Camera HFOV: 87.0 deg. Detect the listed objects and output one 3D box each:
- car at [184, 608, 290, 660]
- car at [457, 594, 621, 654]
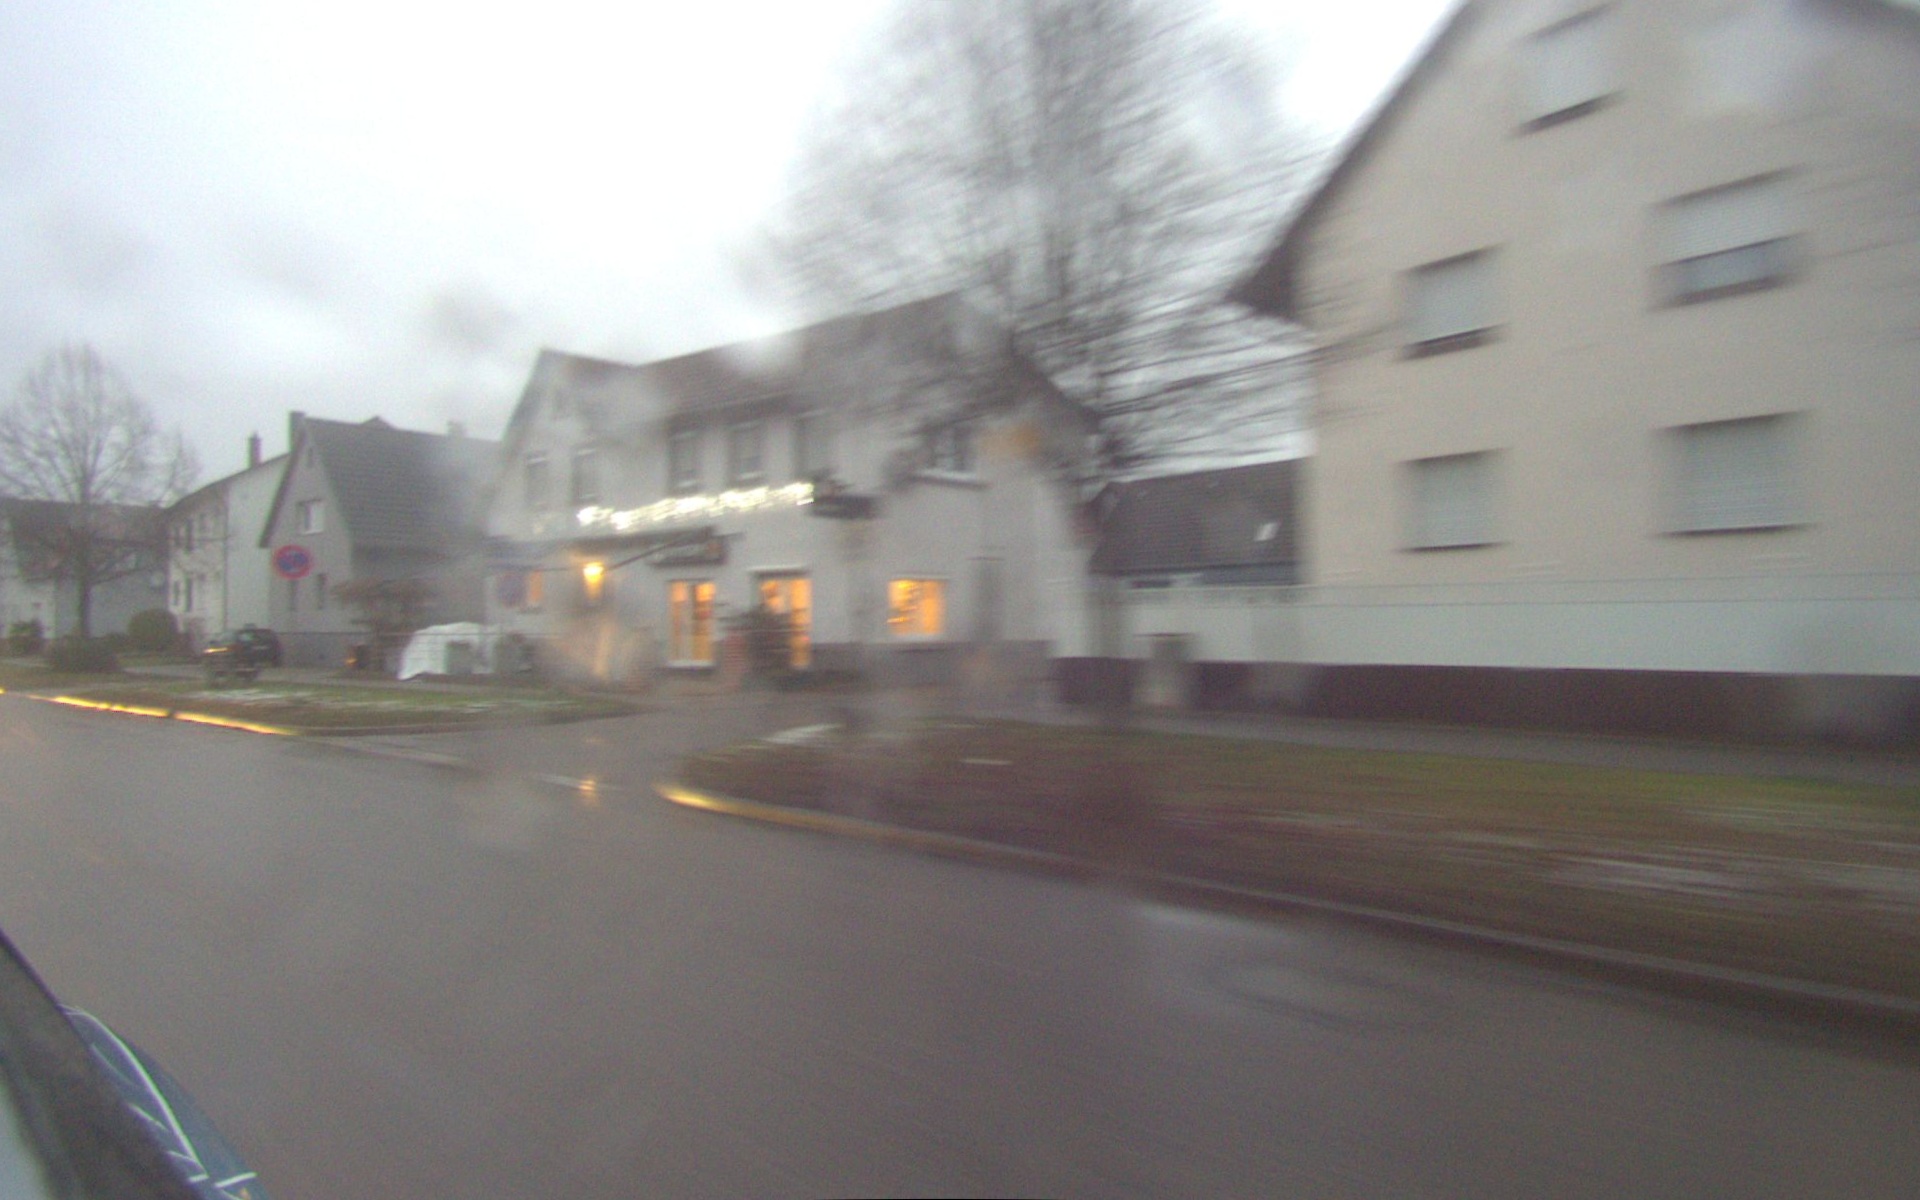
[{"bbox_3d":[-26.361,1.192,36.841,4.562,1.769,1.974,-1,-1,39],"label":"car"},{"bbox_3d":[-13.510,0.735,32.662,1.912,1.813,4.500,-1,-1,45],"label":"car"}]
